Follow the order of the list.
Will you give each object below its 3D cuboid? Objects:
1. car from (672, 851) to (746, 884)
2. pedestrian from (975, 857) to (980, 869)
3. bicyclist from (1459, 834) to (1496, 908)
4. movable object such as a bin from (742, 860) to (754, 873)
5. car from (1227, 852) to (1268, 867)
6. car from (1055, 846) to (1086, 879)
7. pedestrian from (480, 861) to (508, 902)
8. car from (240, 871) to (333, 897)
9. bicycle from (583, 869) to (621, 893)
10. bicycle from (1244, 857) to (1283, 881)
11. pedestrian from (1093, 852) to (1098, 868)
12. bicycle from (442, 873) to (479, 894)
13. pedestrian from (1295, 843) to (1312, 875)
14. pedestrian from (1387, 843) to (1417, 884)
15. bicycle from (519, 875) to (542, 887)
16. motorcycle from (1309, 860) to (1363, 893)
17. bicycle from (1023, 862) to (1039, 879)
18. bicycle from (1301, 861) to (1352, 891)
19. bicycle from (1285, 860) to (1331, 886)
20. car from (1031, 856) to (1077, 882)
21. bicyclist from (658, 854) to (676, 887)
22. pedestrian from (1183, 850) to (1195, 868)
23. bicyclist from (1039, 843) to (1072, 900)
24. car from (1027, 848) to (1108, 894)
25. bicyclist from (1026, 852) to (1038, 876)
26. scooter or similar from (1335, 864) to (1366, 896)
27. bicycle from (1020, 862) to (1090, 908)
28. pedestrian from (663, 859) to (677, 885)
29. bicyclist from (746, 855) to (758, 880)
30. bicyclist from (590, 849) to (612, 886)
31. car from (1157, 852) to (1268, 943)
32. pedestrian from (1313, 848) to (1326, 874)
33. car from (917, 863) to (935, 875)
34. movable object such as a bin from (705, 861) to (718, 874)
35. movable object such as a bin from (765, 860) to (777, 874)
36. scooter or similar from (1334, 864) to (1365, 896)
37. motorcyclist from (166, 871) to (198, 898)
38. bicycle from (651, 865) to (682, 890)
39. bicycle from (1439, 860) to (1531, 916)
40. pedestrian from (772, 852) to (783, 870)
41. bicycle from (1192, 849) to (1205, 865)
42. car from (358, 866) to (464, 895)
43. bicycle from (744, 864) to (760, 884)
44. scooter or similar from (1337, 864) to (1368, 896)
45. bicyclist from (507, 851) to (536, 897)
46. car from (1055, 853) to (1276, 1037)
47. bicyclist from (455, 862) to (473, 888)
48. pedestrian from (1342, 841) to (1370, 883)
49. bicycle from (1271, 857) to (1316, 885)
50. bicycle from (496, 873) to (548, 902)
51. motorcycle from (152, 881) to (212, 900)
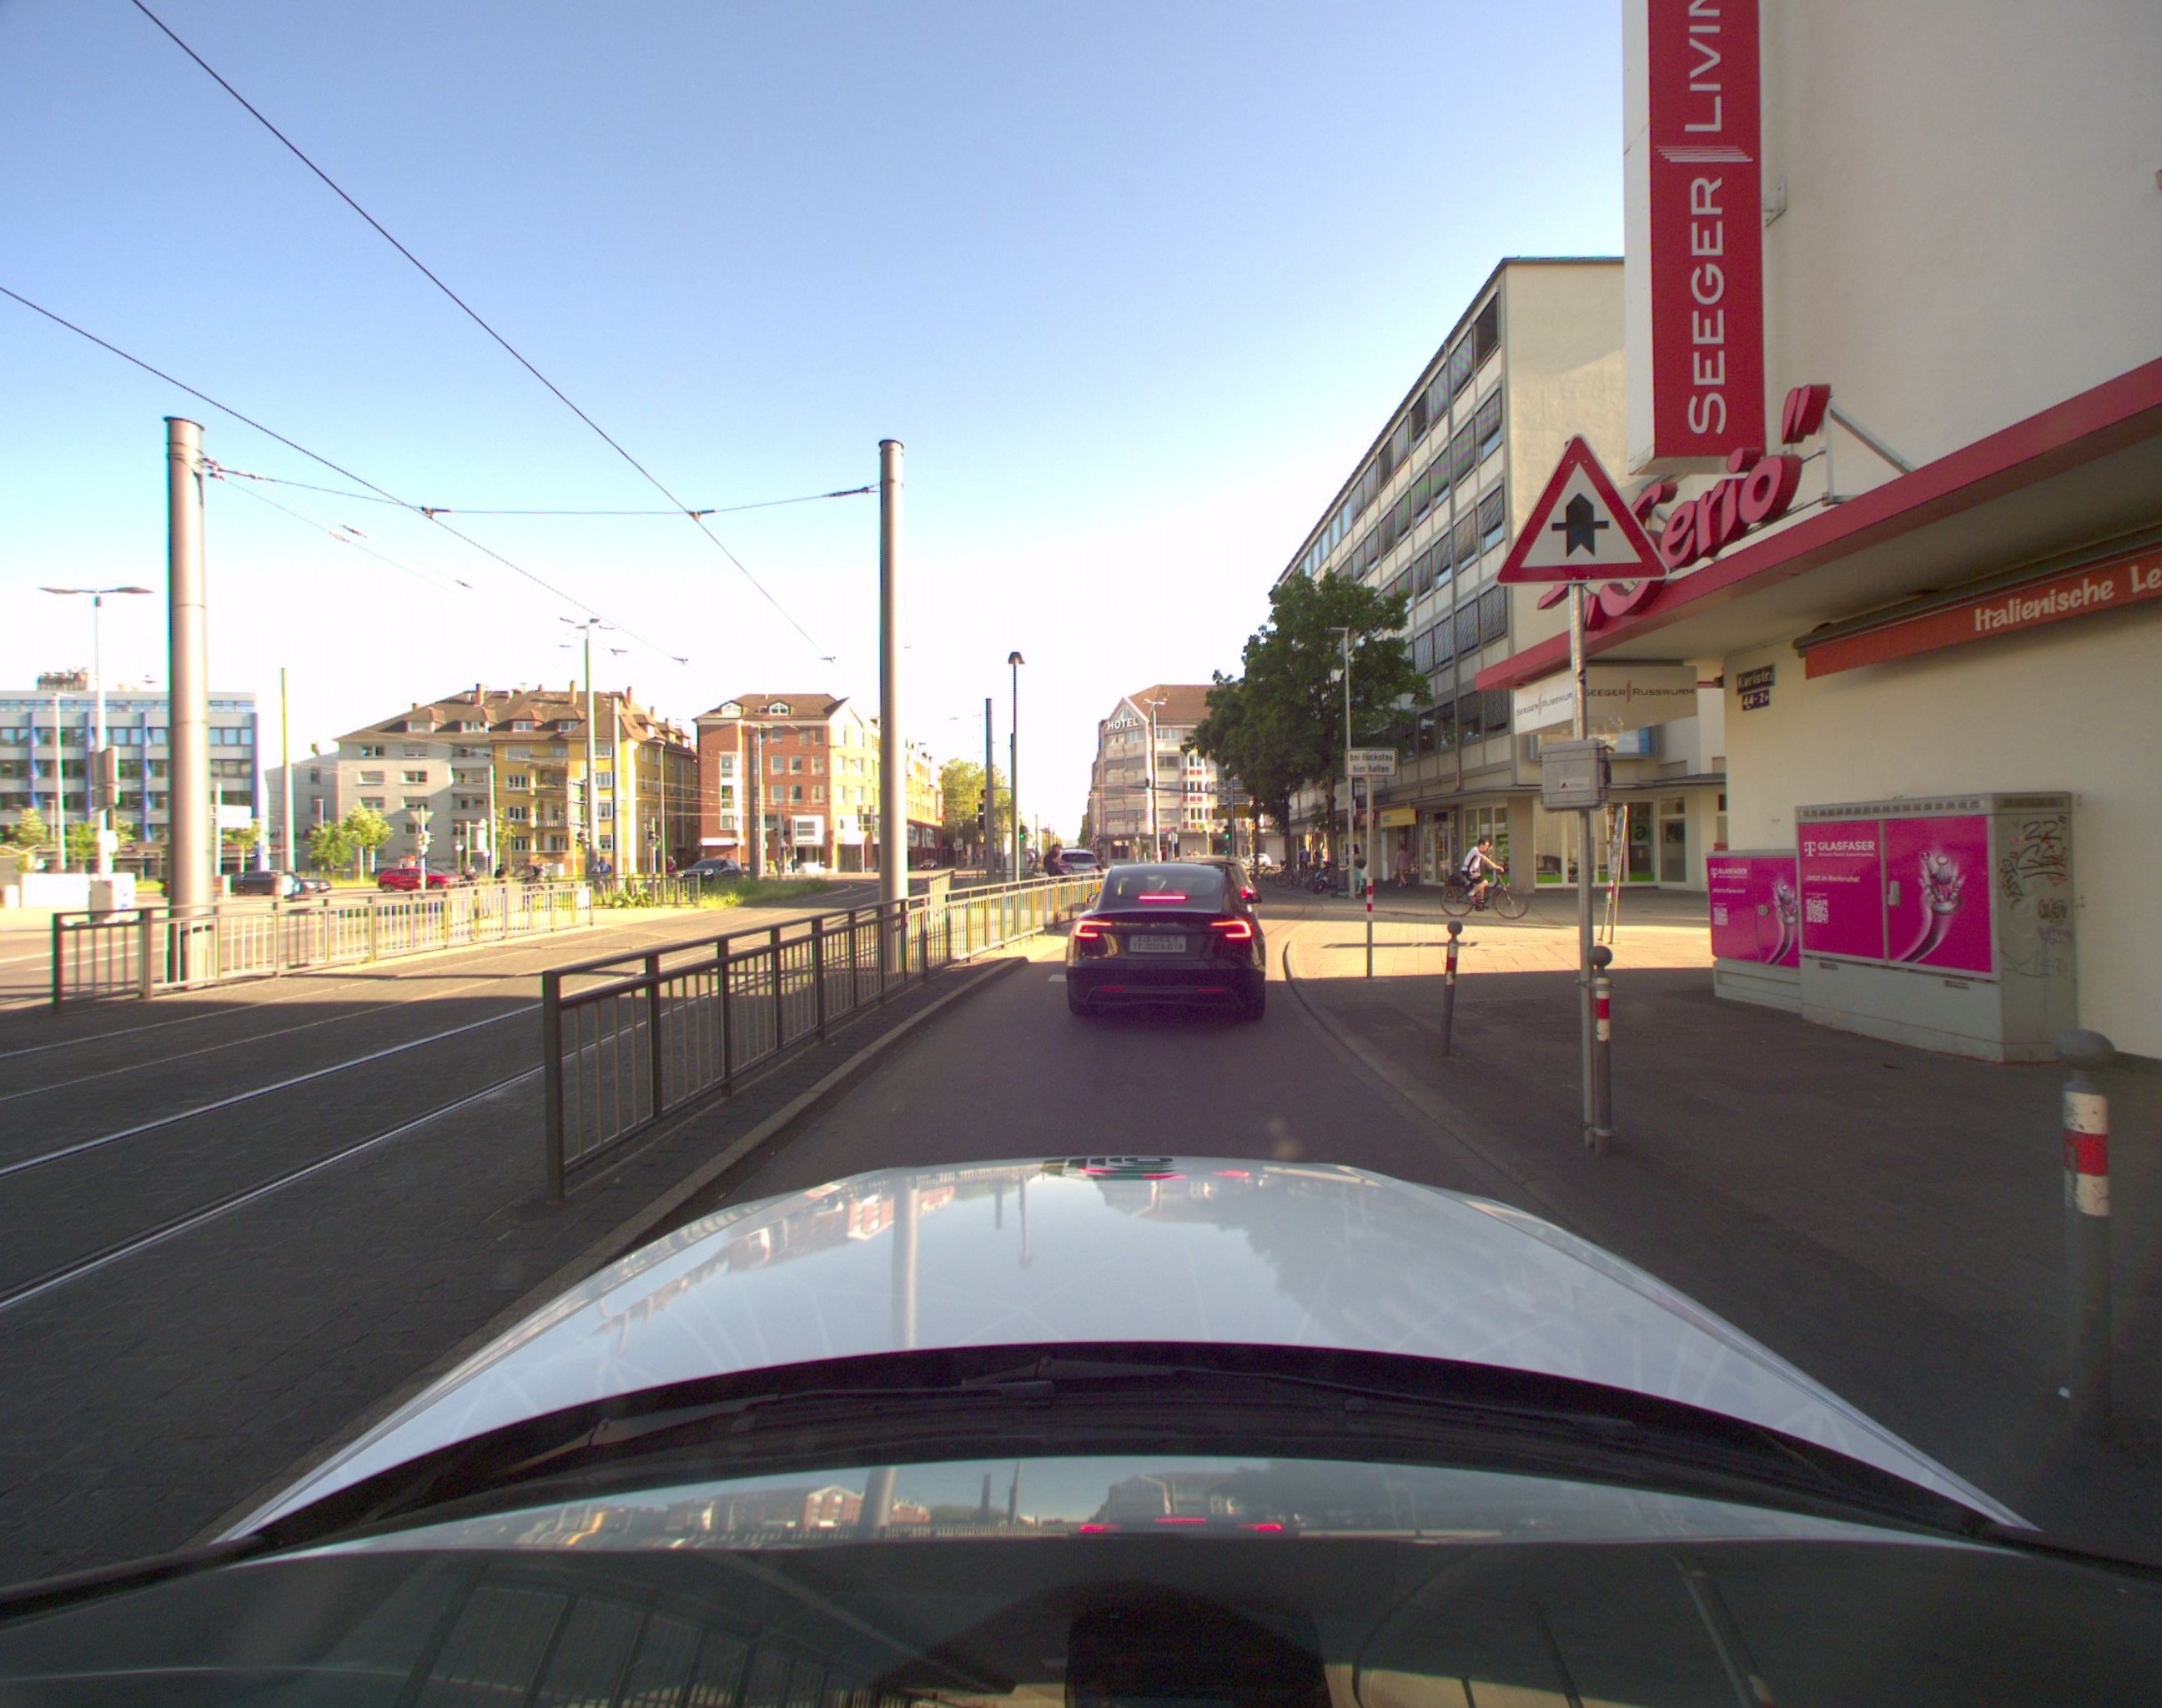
[{"bbox_3d":[-18.613,0.649,40.947,1.678,1.560,4.124,0,-1,2],"label":"car"},{"bbox_3d":[-13.989,1.184,109.709,0.584,1.531,0.634,0,-1,-15],"label":"pedestrian"},{"bbox_3d":[8.938,0.383,18.353,0.674,1.631,0.582,-1,-1,30],"label":"bicyclist"},{"bbox_3d":[-35.994,1.357,88.044,0.995,1.437,1.093,0,-1,-8],"label":"movable object such as a bin"},{"bbox_3d":[17.615,0.618,86.220,3.832,1.432,1.801,-1,-2,-4],"label":"car"},{"bbox_3d":[-0.547,0.443,42.931,1.568,1.618,3.782,0,-1,0],"label":"car"},{"bbox_3d":[-27.550,1.280,38.210,0.720,1.934,0.798,0,-1,2],"label":"pedestrian"},{"bbox_3d":[-46.328,1.731,47.545,3.695,1.472,1.572,0,-1,-6],"label":"car"},{"bbox_3d":[-21.830,1.216,37.151,0.527,1.013,1.887,0,-1,4],"label":"bicycle"},{"bbox_3d":[9.447,0.778,42.288,1.882,1.156,0.480,-2,-1,2],"label":"bicycle"},{"bbox_3d":[1.681,0.692,94.998,0.624,1.782,0.918,0,-1,1],"label":"pedestrian"},{"bbox_3d":[-34.977,1.662,45.914,1.497,1.133,0.609,0,-1,-13],"label":"bicycle"},{"bbox_3d":[12.023,0.267,44.039,0.837,1.721,0.883,-1,-1,14],"label":"pedestrian"},{"bbox_3d":[12.604,0.373,31.959,0.840,1.602,0.880,0,-1,1],"label":"pedestrian"},{"bbox_3d":[-35.206,1.711,52.108,1.174,0.764,0.318,0,-1,-15],"label":"bicycle"},{"bbox_3d":[9.116,0.798,29.149,1.781,1.130,0.504,0,-1,-1],"label":"motorcycle"},{"bbox_3d":[-3.676,1.170,59.923,0.629,1.223,2.026,0,-1,-21],"label":"bicycle"},{"bbox_3d":[9.401,0.832,31.225,1.850,1.056,0.398,-2,0,-10],"label":"bicycle"},{"bbox_3d":[9.260,0.775,33.255,1.758,1.057,0.459,0,-1,6],"label":"bicycle"},{"bbox_3d":[-1.744,0.912,51.172,1.733,1.551,3.446,0,-1,-24],"label":"car"},{"bbox_3d":[-21.234,0.833,41.775,0.518,1.673,0.771,0,-1,3],"label":"bicyclist"},{"bbox_3d":[9.723,0.441,73.302,0.780,1.576,0.864,0,1,-13],"label":"pedestrian"},{"bbox_3d":[-0.701,0.472,22.409,0.685,1.523,0.629,0,-1,-29],"label":"bicyclist"},{"bbox_3d":[-0.580,0.633,30.926,1.848,1.635,3.457,0,-1,-25],"label":"car"},{"bbox_3d":[-3.616,0.712,59.816,0.614,1.772,0.824,0,-1,-21],"label":"bicyclist"},{"bbox_3d":[8.954,0.859,27.021,0.952,1.039,0.160,-1,0,4],"label":"scooter or similar"},{"bbox_3d":[-0.703,0.836,22.396,1.831,1.212,0.635,0,-1,-29],"label":"bicycle"},{"bbox_3d":[-27.428,1.216,54.356,0.624,1.688,0.703,0,1,-11],"label":"pedestrian"},{"bbox_3d":[-21.692,0.905,53.651,0.588,1.649,0.803,0,-1,-11],"label":"bicyclist"},{"bbox_3d":[-21.844,0.622,37.074,0.518,1.673,0.771,0,-1,3],"label":"bicyclist"},{"bbox_3d":[2.378,0.704,15.406,1.755,1.444,4.537,0,0,7],"label":"car"},{"bbox_3d":[12.771,0.376,43.625,0.640,1.422,0.623,-1,-1,13],"label":"pedestrian"},{"bbox_3d":[-20.427,1.968,107.668,1.814,1.454,3.972,-2,0,-4],"label":"car"},{"bbox_3d":[-39.780,1.433,87.646,0.995,1.437,1.093,0,-1,-8],"label":"movable object such as a bin"},{"bbox_3d":[-33.633,1.395,88.286,0.995,1.437,1.093,0,-1,-8],"label":"movable object such as a bin"},{"bbox_3d":[8.969,0.871,27.221,0.959,1.027,0.160,-1,0,4],"label":"scooter or similar"},{"bbox_3d":[-51.765,1.747,46.894,0.919,1.524,0.781,0,-1,-5],"label":"motorcyclist"},{"bbox_3d":[-21.238,1.197,41.803,0.527,1.214,1.887,0,-1,4],"label":"bicycle"},{"bbox_3d":[9.051,0.748,18.280,1.802,1.212,0.586,-1,-1,30],"label":"bicycle"},{"bbox_3d":[-29.363,0.707,78.799,0.694,1.710,0.928,0,-1,-5],"label":"pedestrian"},{"bbox_3d":[10.600,0.273,73.688,0.583,1.463,1.678,-1,0,-13],"label":"bicycle"},{"bbox_3d":[-39.700,1.559,48.349,4.548,1.509,1.777,-2,0,-9],"label":"car"},{"bbox_3d":[-21.704,1.293,53.767,0.573,1.291,2.020,0,-1,-10],"label":"bicycle"},{"bbox_3d":[8.940,0.846,26.823,0.959,1.043,0.160,-1,0,4],"label":"scooter or similar"},{"bbox_3d":[-20.954,0.745,30.487,0.522,1.673,0.771,0,-1,4],"label":"bicyclist"},{"bbox_3d":[0.873,0.740,8.606,1.782,1.450,3.946,0,1,5],"label":"car"},{"bbox_3d":[-34.820,1.186,45.962,0.615,1.493,0.607,0,-1,-12],"label":"bicyclist"},{"bbox_3d":[11.263,0.340,33.377,0.840,1.707,0.880,0,-1,1],"label":"pedestrian"},{"bbox_3d":[9.181,0.748,35.219,1.805,1.151,0.435,-1,-1,-3],"label":"bicycle"},{"bbox_3d":[-20.950,1.255,30.552,0.527,1.013,1.899,0,-1,4],"label":"bicycle"},{"bbox_3d":[-51.746,2.097,46.897,2.355,0.984,0.790,0,-1,-6],"label":"motorcycle"}]
